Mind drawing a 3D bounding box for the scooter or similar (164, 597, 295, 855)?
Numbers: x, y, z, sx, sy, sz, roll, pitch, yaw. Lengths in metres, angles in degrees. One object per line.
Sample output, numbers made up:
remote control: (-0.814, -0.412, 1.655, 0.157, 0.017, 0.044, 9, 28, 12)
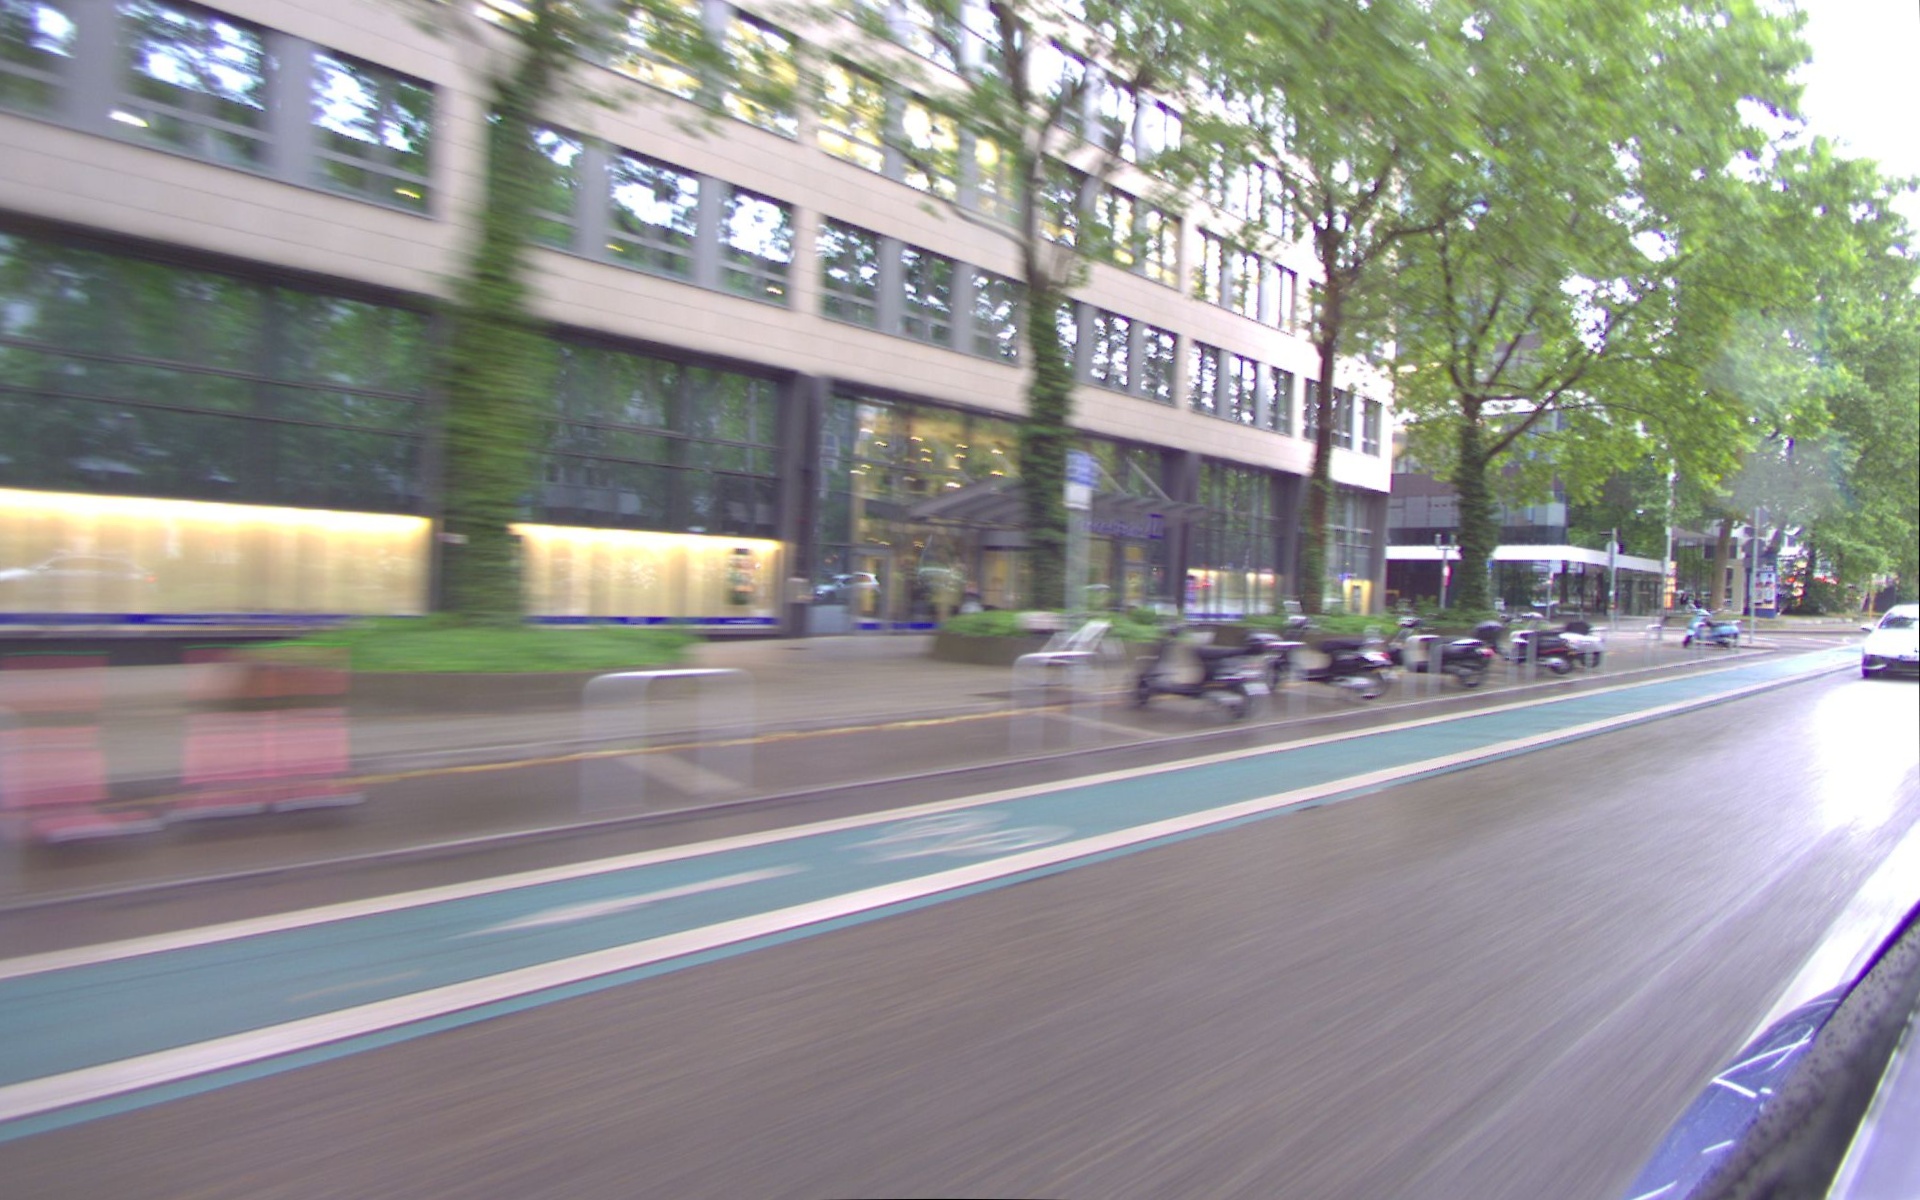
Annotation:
scooter or similar: (-4.307, 0.668, 5.969, 0.527, 1.294, 1.293, 3, 1, -37)

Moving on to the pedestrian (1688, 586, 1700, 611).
pedestrian: (55.465, -0.134, 76.471, 0.692, 1.881, 0.523, -1, 4, -41)

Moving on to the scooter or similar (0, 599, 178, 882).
scooter or similar: (-4.763, 0.678, 5.467, 1.287, 1.294, 0.529, 3, 1, 39)

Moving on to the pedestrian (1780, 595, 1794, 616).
pedestrian: (62.039, 0.421, 75.935, 0.987, 1.524, 0.588, 1, 1, -40)

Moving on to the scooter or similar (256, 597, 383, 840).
scooter or similar: (-3.991, 0.662, 6.271, 0.527, 1.294, 1.293, 3, 1, -37)

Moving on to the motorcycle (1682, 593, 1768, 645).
motorcycle: (22.476, 0.546, 29.746, 1.908, 1.383, 0.685, 2, 3, 0)

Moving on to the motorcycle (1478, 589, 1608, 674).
motorcycle: (11.004, 0.571, 19.198, 2.042, 1.446, 0.722, 3, 1, 28)

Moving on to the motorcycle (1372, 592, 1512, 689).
motorcycle: (7.737, 0.619, 16.288, 1.944, 1.391, 0.722, 3, 1, 28)

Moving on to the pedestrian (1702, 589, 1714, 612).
pedestrian: (56.066, 0.046, 75.853, 0.707, 1.645, 0.527, -1, 4, -41)

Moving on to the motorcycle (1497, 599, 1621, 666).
motorcycle: (12.413, 0.654, 21.030, 2.030, 1.227, 0.682, 3, 3, 14)

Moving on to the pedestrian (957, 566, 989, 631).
pedestrian: (0.361, -0.039, 27.392, 0.813, 1.714, 0.729, 2, 1, 2)

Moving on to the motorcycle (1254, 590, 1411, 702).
motorcycle: (5.219, 0.610, 14.217, 1.944, 1.391, 0.722, 3, 1, 28)

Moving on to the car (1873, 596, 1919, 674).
car: (19.857, 0.666, 20.338, 3.727, 1.490, 1.794, 0, 0, -41)

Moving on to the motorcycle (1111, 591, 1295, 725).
motorcycle: (2.865, 0.641, 12.019, 1.948, 1.391, 0.720, 4, 1, 34)

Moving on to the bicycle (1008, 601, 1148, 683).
bicycle: (1.568, 0.549, 13.484, 1.726, 1.041, 0.640, 1, 0, -12)
